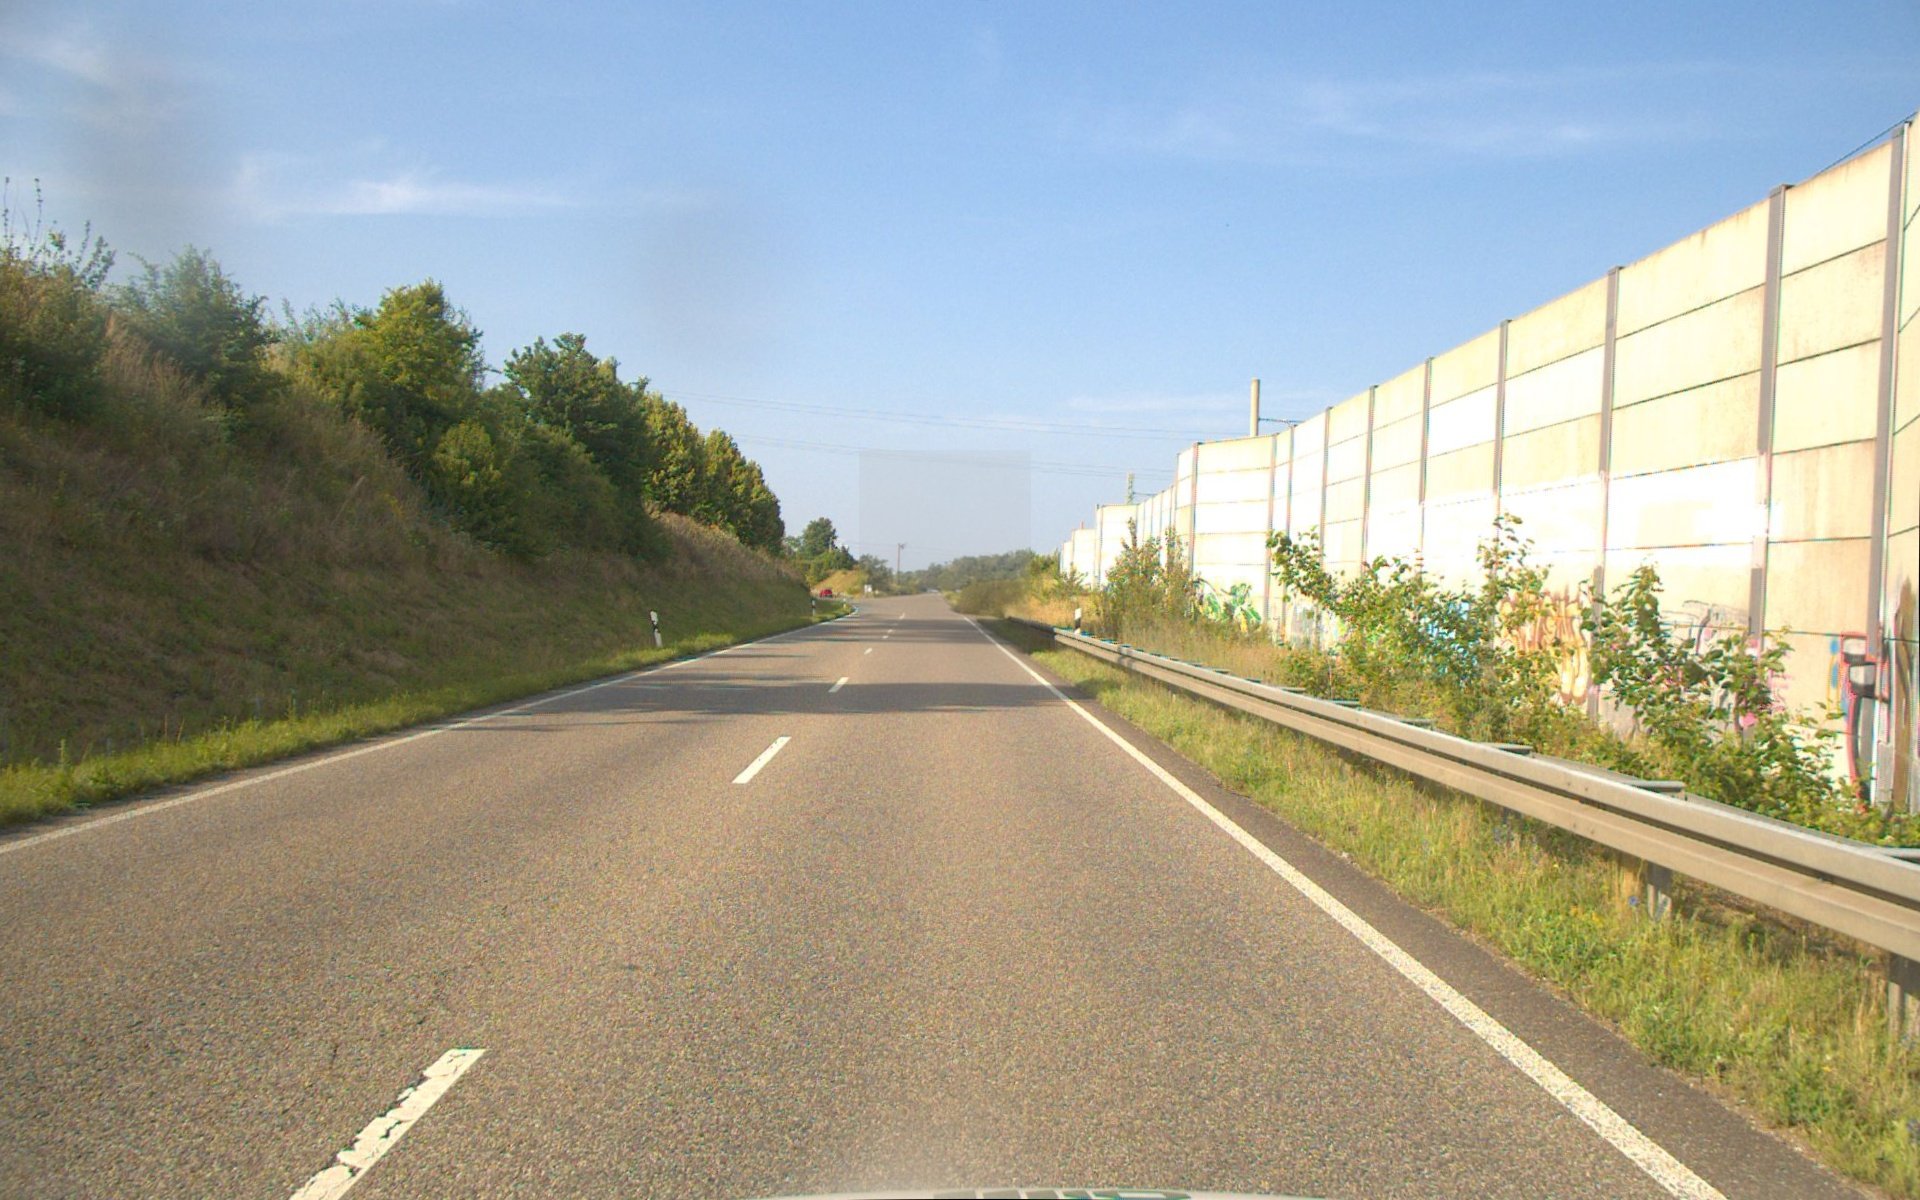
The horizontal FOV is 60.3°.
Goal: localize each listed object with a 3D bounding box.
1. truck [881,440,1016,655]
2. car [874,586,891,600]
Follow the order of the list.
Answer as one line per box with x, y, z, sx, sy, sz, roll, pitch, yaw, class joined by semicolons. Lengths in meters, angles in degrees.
-0.550;-1.363;46.113;3.225;5.178;12.032;1;1;-3;truck
-9.564;-0.873;204.664;2.005;1.609;4.359;1;0;-1;car
